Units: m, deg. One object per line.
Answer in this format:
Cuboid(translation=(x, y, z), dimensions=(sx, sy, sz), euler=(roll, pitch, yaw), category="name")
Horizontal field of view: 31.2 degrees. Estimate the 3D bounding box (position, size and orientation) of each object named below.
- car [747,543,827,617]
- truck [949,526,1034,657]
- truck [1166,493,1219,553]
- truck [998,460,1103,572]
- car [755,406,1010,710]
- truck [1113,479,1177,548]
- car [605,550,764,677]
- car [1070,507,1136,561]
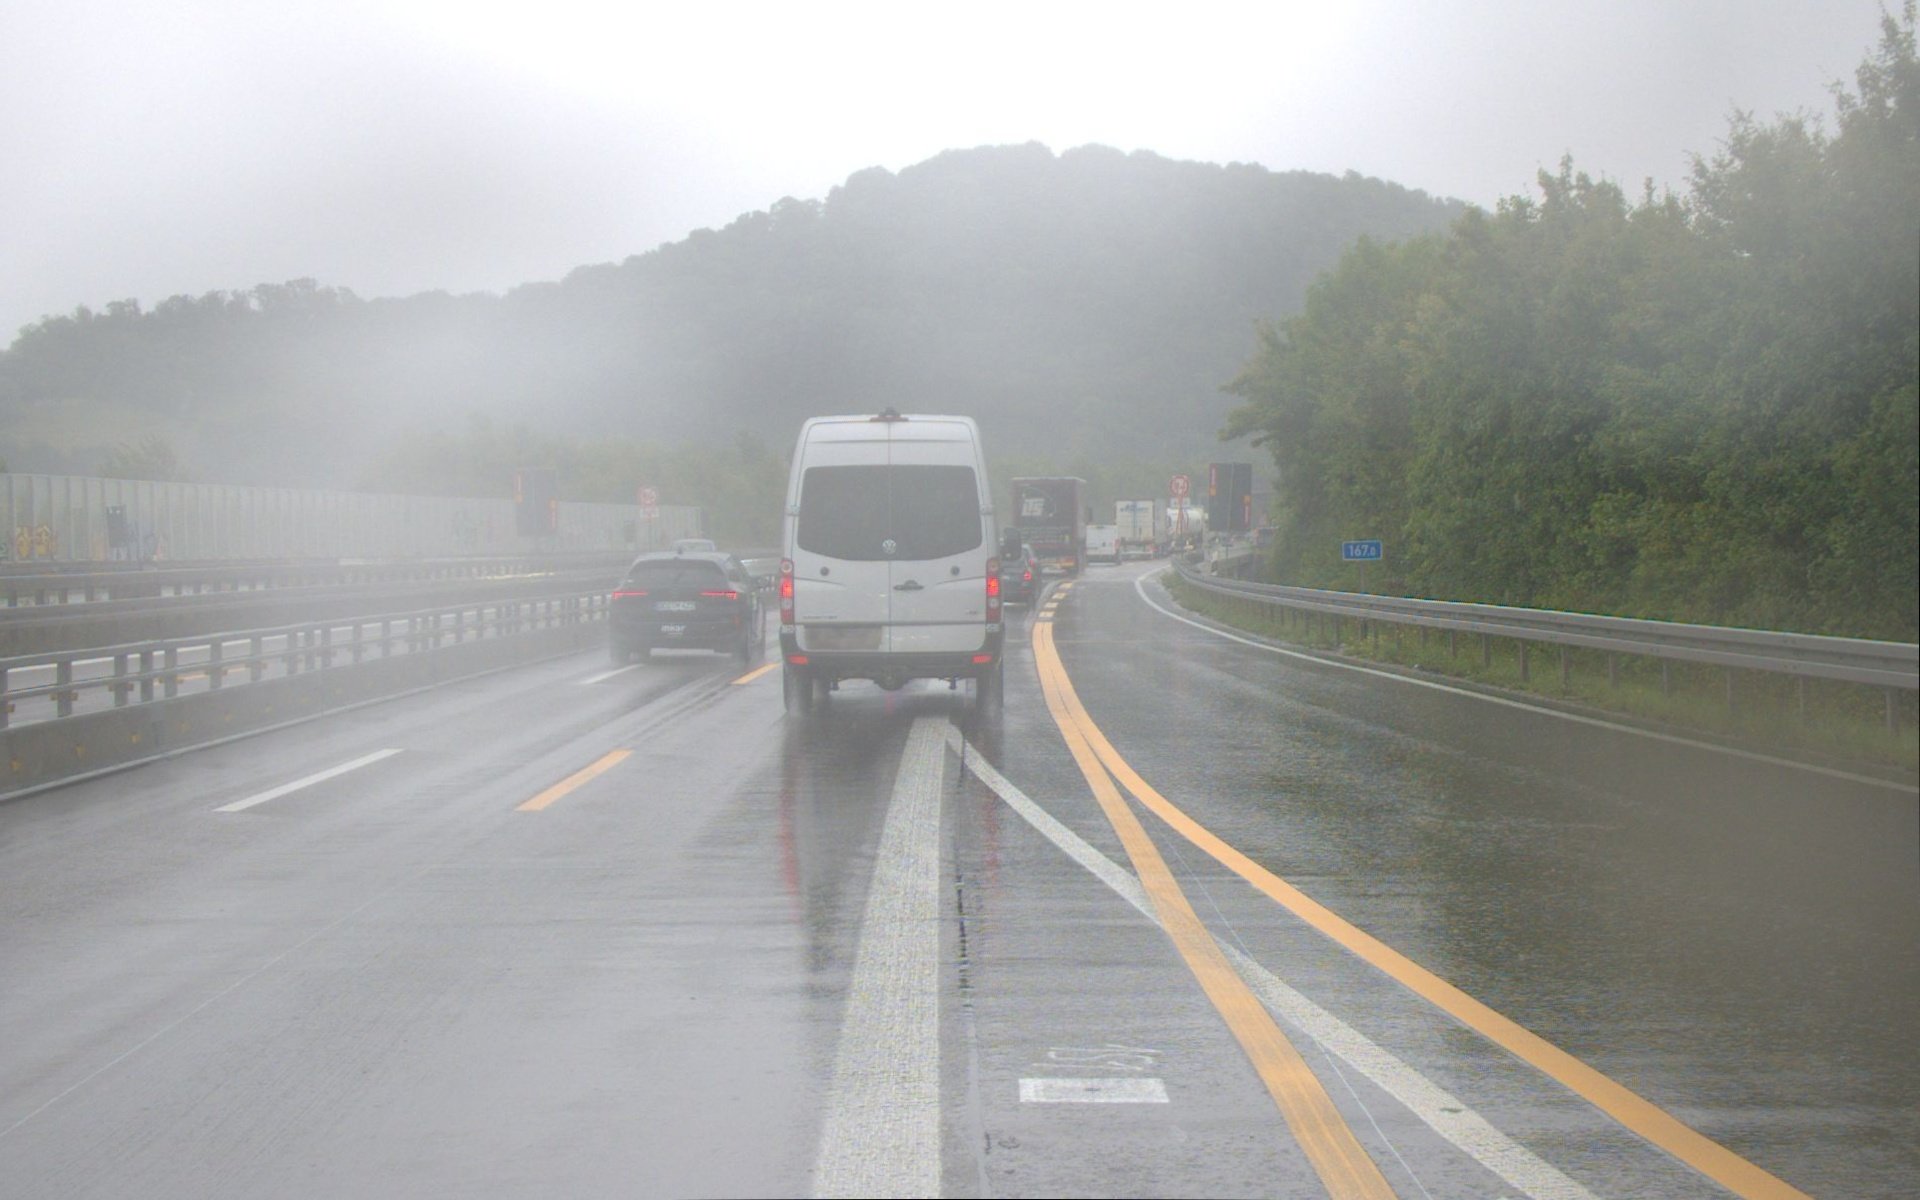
Cuboid(translation=(-3.920, -0.470, 78.334), dimensions=(1.707, 1.622, 4.000), euler=(1, 1, -2), category="car")
Cuboid(translation=(0.789, -0.254, 86.046), dimensions=(1.993, 3.098, 8.499), euler=(1, 1, 1), category="truck")
Cuboid(translation=(17.585, -5.751, 259.561), dimensions=(2.900, 4.391, 9.619), euler=(1, 1, 11), category="truck")
Cuboid(translation=(3.785, -3.368, 140.904), dimensions=(3.582, 4.391, 9.622), euler=(1, 1, 6), category="truck")
Cuboid(translation=(-0.649, -0.390, 32.004), dimensions=(2.145, 2.562, 5.390), euler=(1, 1, 0), category="car")
Cuboid(translation=(12.198, -5.651, 225.937), dimensions=(3.037, 4.391, 9.620), euler=(1, 1, 10), category="truck")
Cuboid(translation=(-3.541, 0.143, 44.508), dimensions=(1.946, 1.556, 4.001), euler=(1, 1, -4), category="car")
Cuboid(translation=(7.862, -3.592, 188.651), dimensions=(2.899, 2.877, 6.409), euler=(1, 1, 8), category="car")
